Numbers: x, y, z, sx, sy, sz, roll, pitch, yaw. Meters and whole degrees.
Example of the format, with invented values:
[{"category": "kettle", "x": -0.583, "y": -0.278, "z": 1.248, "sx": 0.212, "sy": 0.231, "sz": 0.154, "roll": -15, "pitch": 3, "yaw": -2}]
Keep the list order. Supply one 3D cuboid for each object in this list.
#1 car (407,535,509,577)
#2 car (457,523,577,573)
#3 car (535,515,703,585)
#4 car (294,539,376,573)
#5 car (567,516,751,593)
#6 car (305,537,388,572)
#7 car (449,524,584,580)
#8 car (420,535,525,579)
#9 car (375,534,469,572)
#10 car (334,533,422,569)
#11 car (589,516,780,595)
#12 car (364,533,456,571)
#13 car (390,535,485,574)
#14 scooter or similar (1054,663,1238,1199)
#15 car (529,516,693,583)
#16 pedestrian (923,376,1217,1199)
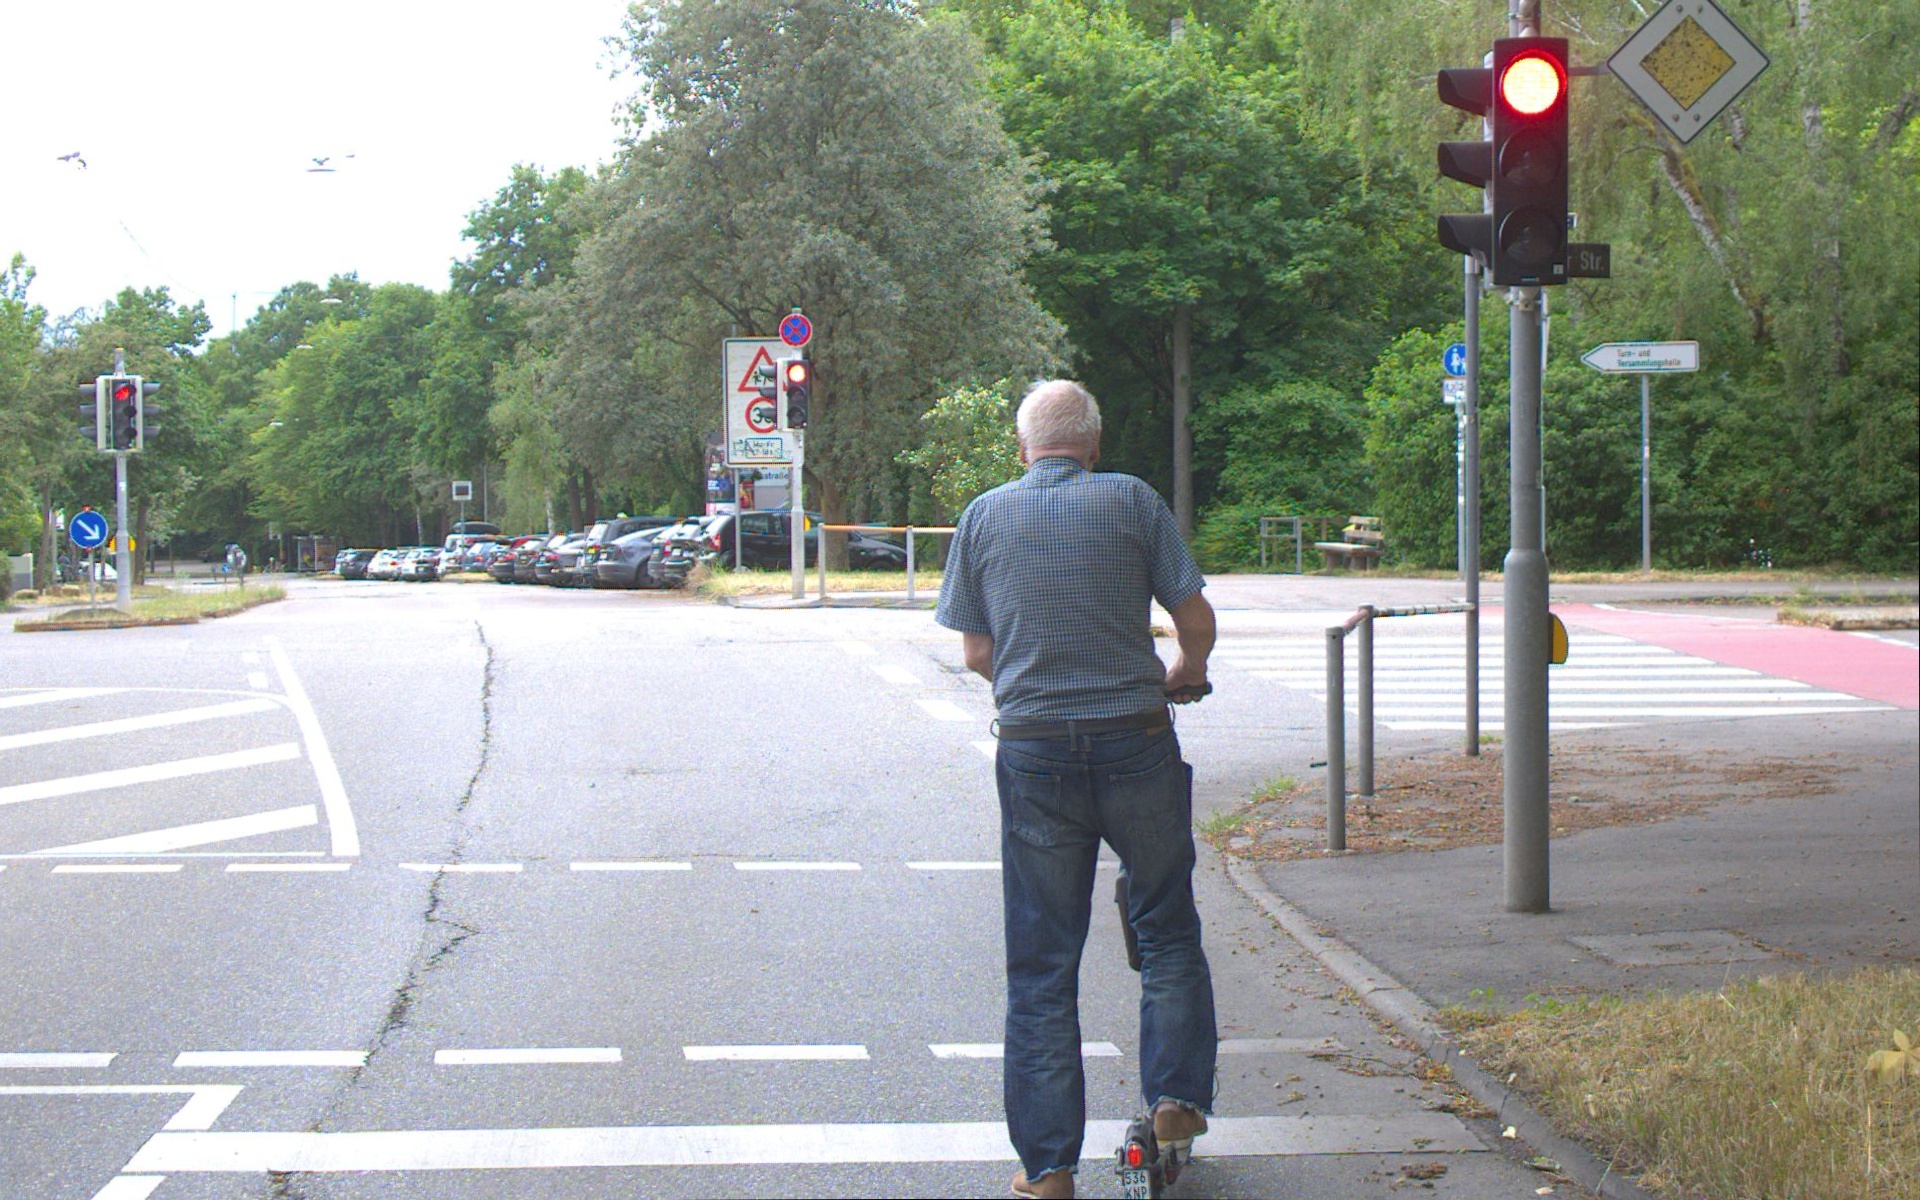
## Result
[{"category": "car", "x": -20.849, "y": -1.821, "z": 142.766, "sx": 3.840, "sy": 1.605, "sz": 1.729, "roll": -3, "pitch": 2, "yaw": -23}, {"category": "car", "x": -15.699, "y": -1.845, "z": 121.889, "sx": 3.840, "sy": 1.605, "sz": 1.729, "roll": -3, "pitch": 2, "yaw": -23}, {"category": "car", "x": -8.599, "y": -1.272, "z": 86.647, "sx": 3.840, "sy": 1.605, "sz": 1.729, "roll": -3, "pitch": 2, "yaw": -23}, {"category": "car", "x": -32.345, "y": -2.301, "z": 177.971, "sx": 3.840, "sy": 1.605, "sz": 1.729, "roll": -3, "pitch": 2, "yaw": -23}, {"category": "car", "x": -6.950, "y": -1.058, "z": 79.299, "sx": 3.840, "sy": 1.605, "sz": 1.729, "roll": -3, "pitch": 2, "yaw": -23}, {"category": "car", "x": -31.323, "y": -2.329, "z": 175.633, "sx": 3.840, "sy": 1.605, "sz": 1.729, "roll": -3, "pitch": 2, "yaw": -23}, {"category": "car", "x": -14.053, "y": -1.531, "z": 108.923, "sx": 3.840, "sy": 1.605, "sz": 1.729, "roll": -3, "pitch": 2, "yaw": -23}, {"category": "car", "x": -19.744, "y": -1.740, "z": 139.091, "sx": 3.840, "sy": 1.605, "sz": 1.729, "roll": -3, "pitch": 2, "yaw": -23}, {"category": "car", "x": -24.445, "y": -2.146, "z": 156.201, "sx": 3.840, "sy": 1.605, "sz": 1.729, "roll": -3, "pitch": 2, "yaw": -23}, {"category": "car", "x": -28.057, "y": -2.376, "z": 165.837, "sx": 3.840, "sy": 1.605, "sz": 1.729, "roll": -3, "pitch": 2, "yaw": -23}, {"category": "car", "x": -6.149, "y": -1.005, "z": 76.758, "sx": 3.841, "sy": 1.605, "sz": 1.728, "roll": -3, "pitch": 2, "yaw": -24}, {"category": "car", "x": -25.387, "y": -2.207, "z": 158.771, "sx": 3.840, "sy": 1.605, "sz": 1.729, "roll": -3, "pitch": 2, "yaw": -23}, {"category": "car", "x": -23.459, "y": -2.051, "z": 154.281, "sx": 3.840, "sy": 1.605, "sz": 1.729, "roll": -3, "pitch": 2, "yaw": -23}, {"category": "scooter or similar", "x": 0.416, "y": 0.752, "z": 7.395, "sx": 0.282, "sy": 1.174, "sz": 1.177, "roll": -1, "pitch": 1, "yaw": 8}, {"category": "car", "x": -9.039, "y": -1.318, "z": 89.059, "sx": 3.840, "sy": 1.605, "sz": 1.729, "roll": -3, "pitch": 2, "yaw": -23}, {"category": "pedestrian", "x": 0.251, "y": 0.426, "z": 7.565, "sx": 0.573, "sy": 1.807, "sz": 0.420, "roll": -1, "pitch": 1, "yaw": 8}]
